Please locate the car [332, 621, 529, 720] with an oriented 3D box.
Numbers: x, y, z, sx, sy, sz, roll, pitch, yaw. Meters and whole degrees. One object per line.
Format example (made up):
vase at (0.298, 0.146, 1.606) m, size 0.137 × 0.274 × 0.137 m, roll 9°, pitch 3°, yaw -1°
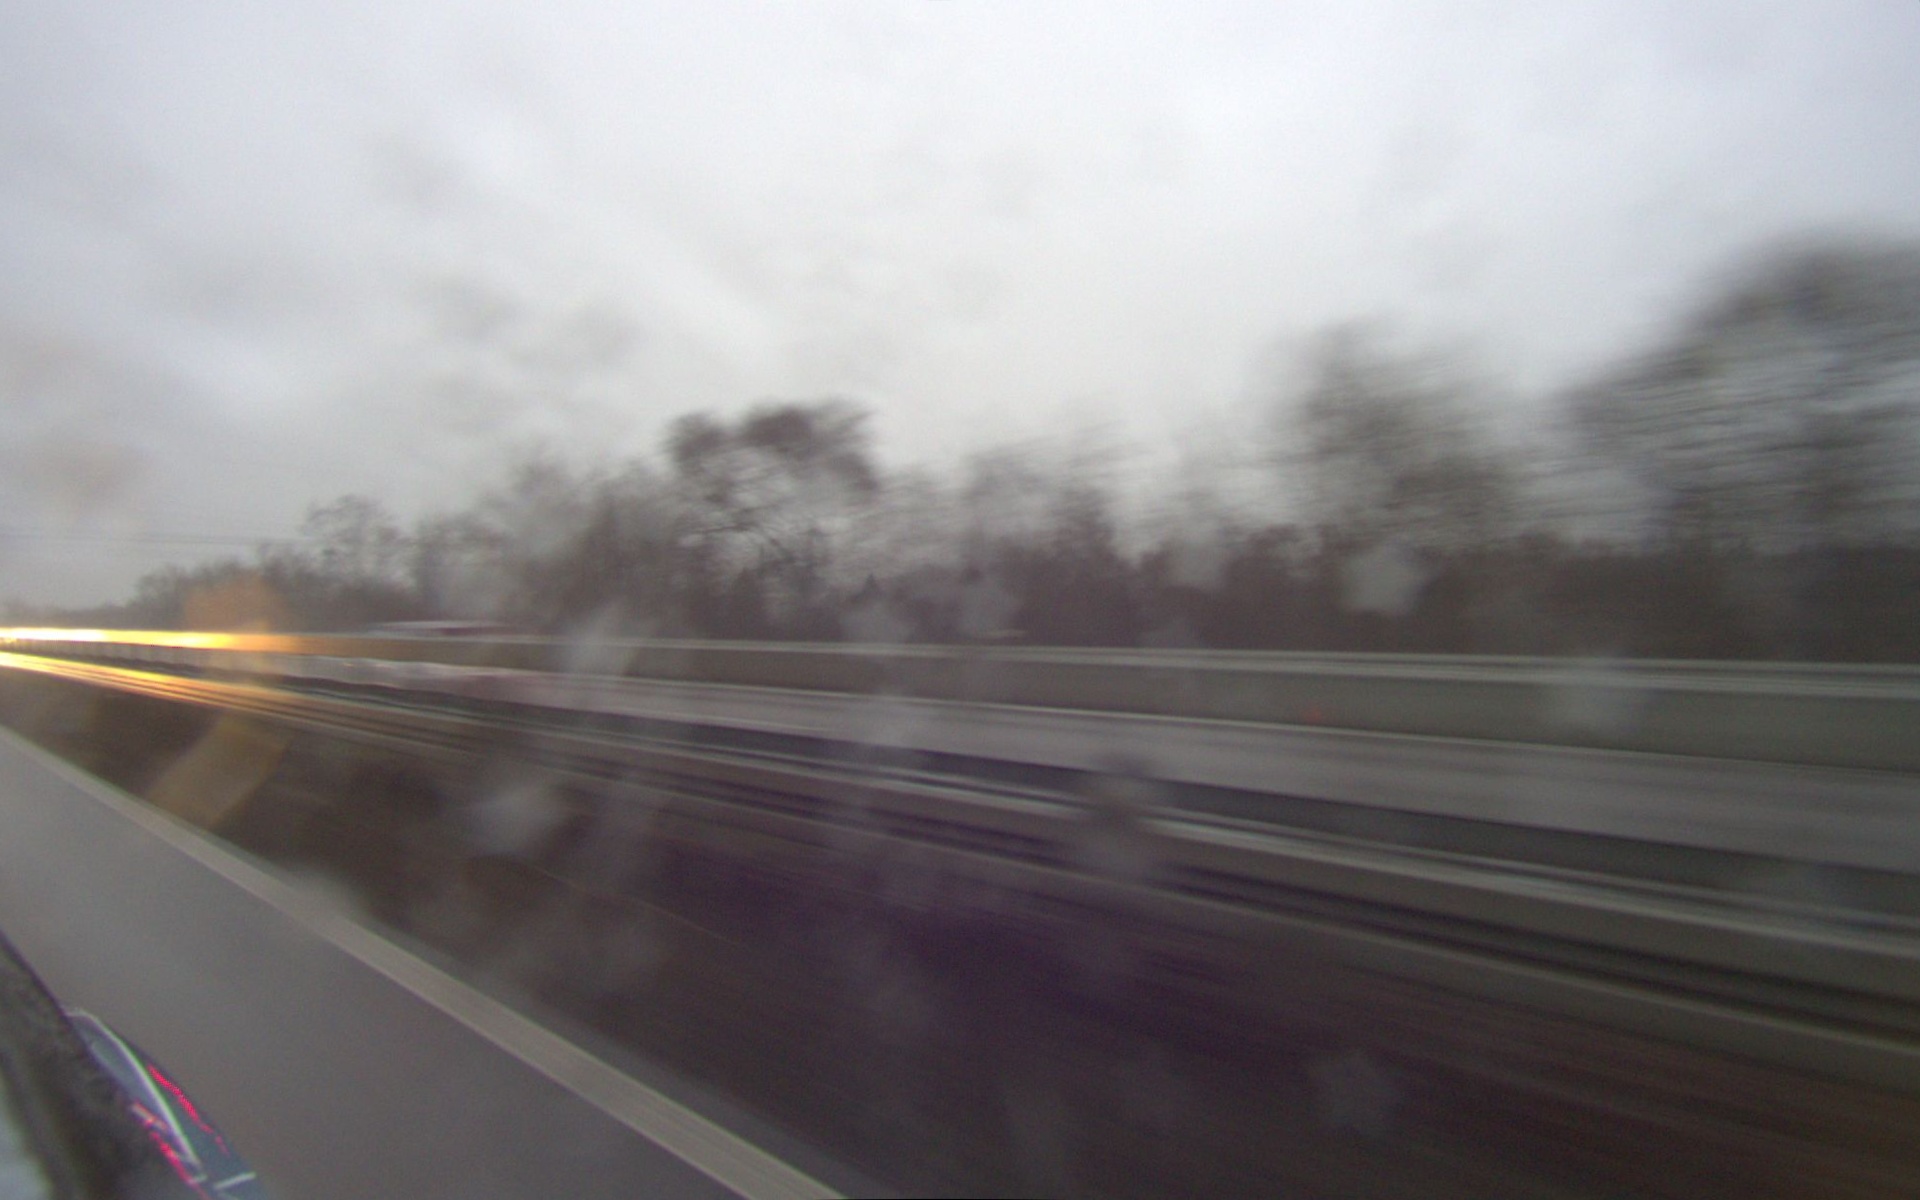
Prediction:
car at (-9.079, 1.102, 17.218) m, size 4.175 × 1.485 × 1.591 m, roll -1°, pitch -1°, yaw 41°
